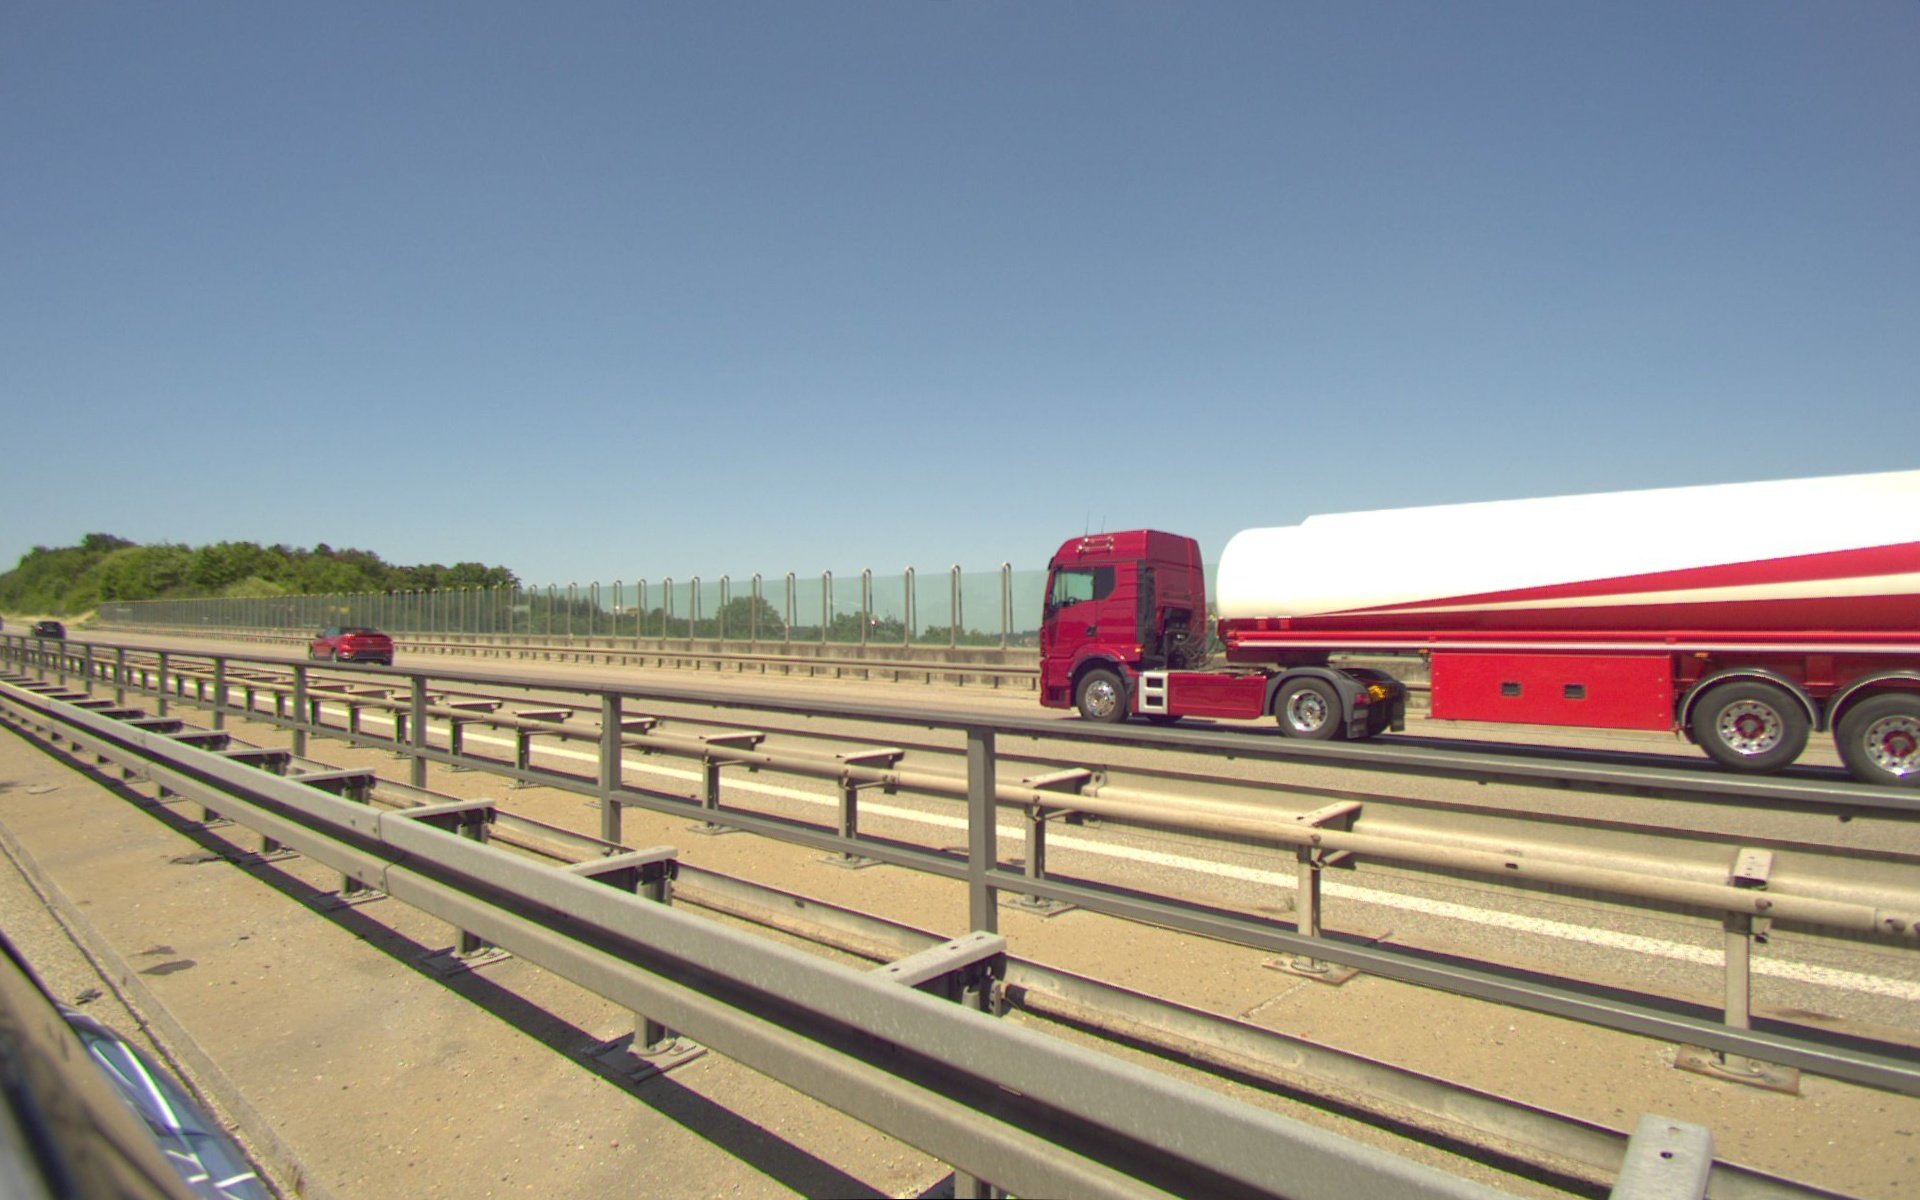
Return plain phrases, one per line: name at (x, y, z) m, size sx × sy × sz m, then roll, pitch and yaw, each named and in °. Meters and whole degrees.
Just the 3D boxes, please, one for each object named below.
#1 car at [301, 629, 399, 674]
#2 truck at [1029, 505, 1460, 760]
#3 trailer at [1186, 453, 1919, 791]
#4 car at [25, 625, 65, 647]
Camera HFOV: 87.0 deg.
car at (-21.403, 1.793, 35.460) m, size 3.999 × 1.431 × 1.763 m, roll -1°, pitch -4°, yaw 42°
truck at (4.523, 0.519, 16.860) m, size 6.294 × 3.441 × 2.877 m, roll -1°, pitch -3°, yaw 43°
trailer at (8.921, 0.304, 12.814) m, size 12.005 × 3.405 × 2.845 m, roll -1°, pitch -4°, yaw 43°
car at (-66.635, 2.607, 73.653) m, size 3.999 × 1.431 × 1.681 m, roll -1°, pitch -4°, yaw 42°
